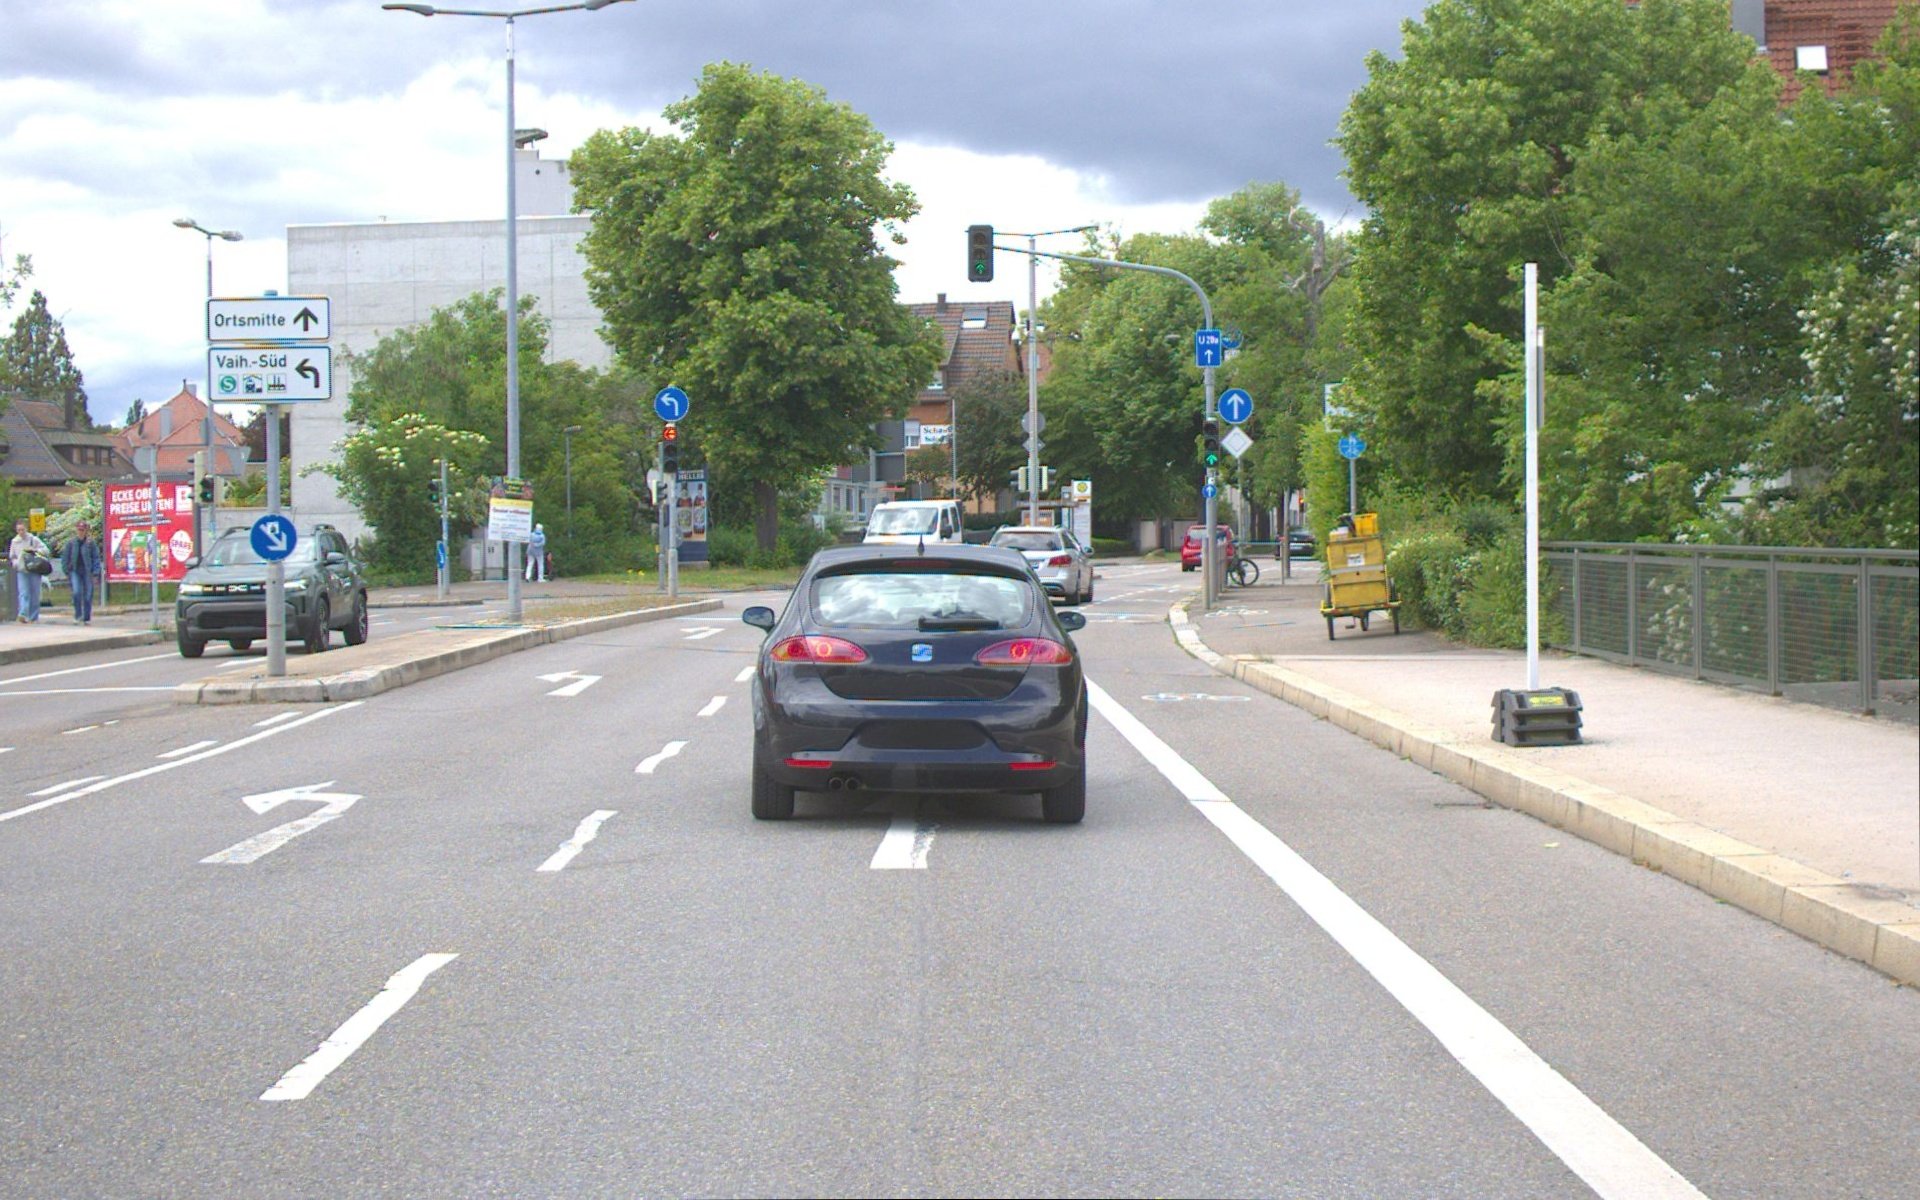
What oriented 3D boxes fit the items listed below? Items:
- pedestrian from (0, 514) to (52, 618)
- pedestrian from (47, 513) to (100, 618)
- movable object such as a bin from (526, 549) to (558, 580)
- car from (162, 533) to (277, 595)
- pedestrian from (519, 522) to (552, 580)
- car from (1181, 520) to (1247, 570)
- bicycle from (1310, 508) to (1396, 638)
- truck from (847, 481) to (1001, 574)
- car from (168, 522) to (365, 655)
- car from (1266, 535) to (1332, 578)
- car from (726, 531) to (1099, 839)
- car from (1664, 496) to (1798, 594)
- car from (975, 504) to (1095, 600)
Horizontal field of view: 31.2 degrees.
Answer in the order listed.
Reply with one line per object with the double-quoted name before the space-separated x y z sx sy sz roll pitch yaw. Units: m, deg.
"pedestrian" -14.681 -0.538 54.056 0.656 1.628 0.833 0 1 -6
"pedestrian" -13.975 -0.552 54.201 0.656 1.628 1.071 0 1 -6
"movable object such as a bin" -11.180 -0.957 91.992 0.655 0.795 0.897 -1 1 7
"car" -25.091 -1.235 116.563 1.995 2.007 3.996 2 1 19
"pedestrian" -11.270 -1.300 91.299 0.655 1.517 0.923 -1 1 7
"car" 7.941 -1.753 107.937 1.941 1.476 4.253 -1 2 3
"bicycle" 4.803 -0.356 42.163 0.891 1.505 2.783 -3 1 5
"truck" -0.860 -1.877 88.615 2.127 2.257 6.801 -1 1 15
"car" -8.939 -0.182 44.604 1.822 1.621 4.279 -1 1 -2
"car" 13.855 -1.791 140.387 1.995 1.678 3.997 -1 1 16
"car" -0.164 0.380 18.815 1.759 1.444 3.714 1 2 3
"car" 12.144 -0.879 54.339 1.668 1.444 3.999 -1 1 7
"car" 1.459 -0.933 65.060 1.819 1.693 4.252 -1 2 7
